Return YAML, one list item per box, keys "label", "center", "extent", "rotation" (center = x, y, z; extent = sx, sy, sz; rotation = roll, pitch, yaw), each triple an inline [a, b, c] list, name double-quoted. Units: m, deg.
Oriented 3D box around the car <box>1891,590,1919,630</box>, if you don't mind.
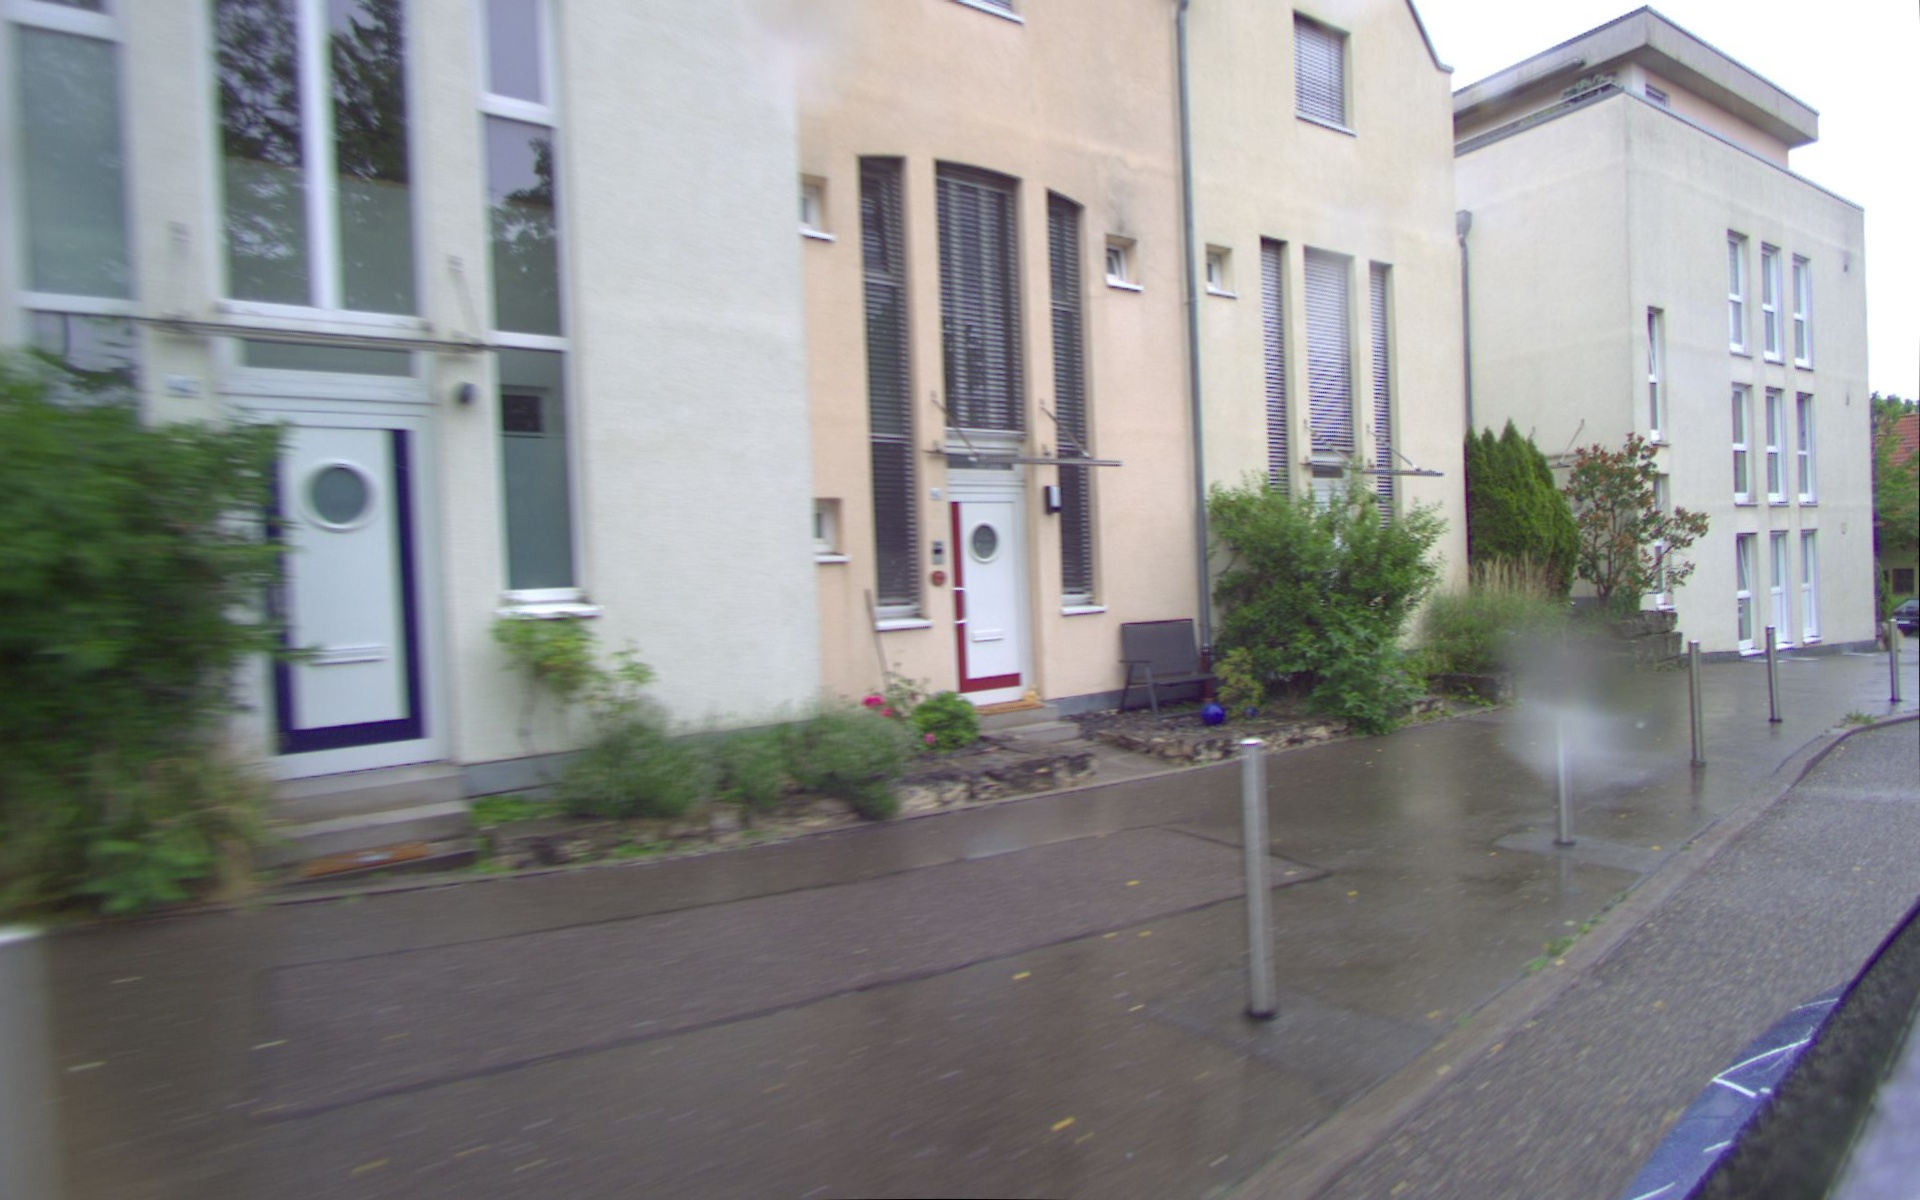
- label: "car"
  center: [35.537, 0.325, 35.602]
  extent: [3.921, 1.393, 1.881]
  rotation: [-1, 0, -3]
